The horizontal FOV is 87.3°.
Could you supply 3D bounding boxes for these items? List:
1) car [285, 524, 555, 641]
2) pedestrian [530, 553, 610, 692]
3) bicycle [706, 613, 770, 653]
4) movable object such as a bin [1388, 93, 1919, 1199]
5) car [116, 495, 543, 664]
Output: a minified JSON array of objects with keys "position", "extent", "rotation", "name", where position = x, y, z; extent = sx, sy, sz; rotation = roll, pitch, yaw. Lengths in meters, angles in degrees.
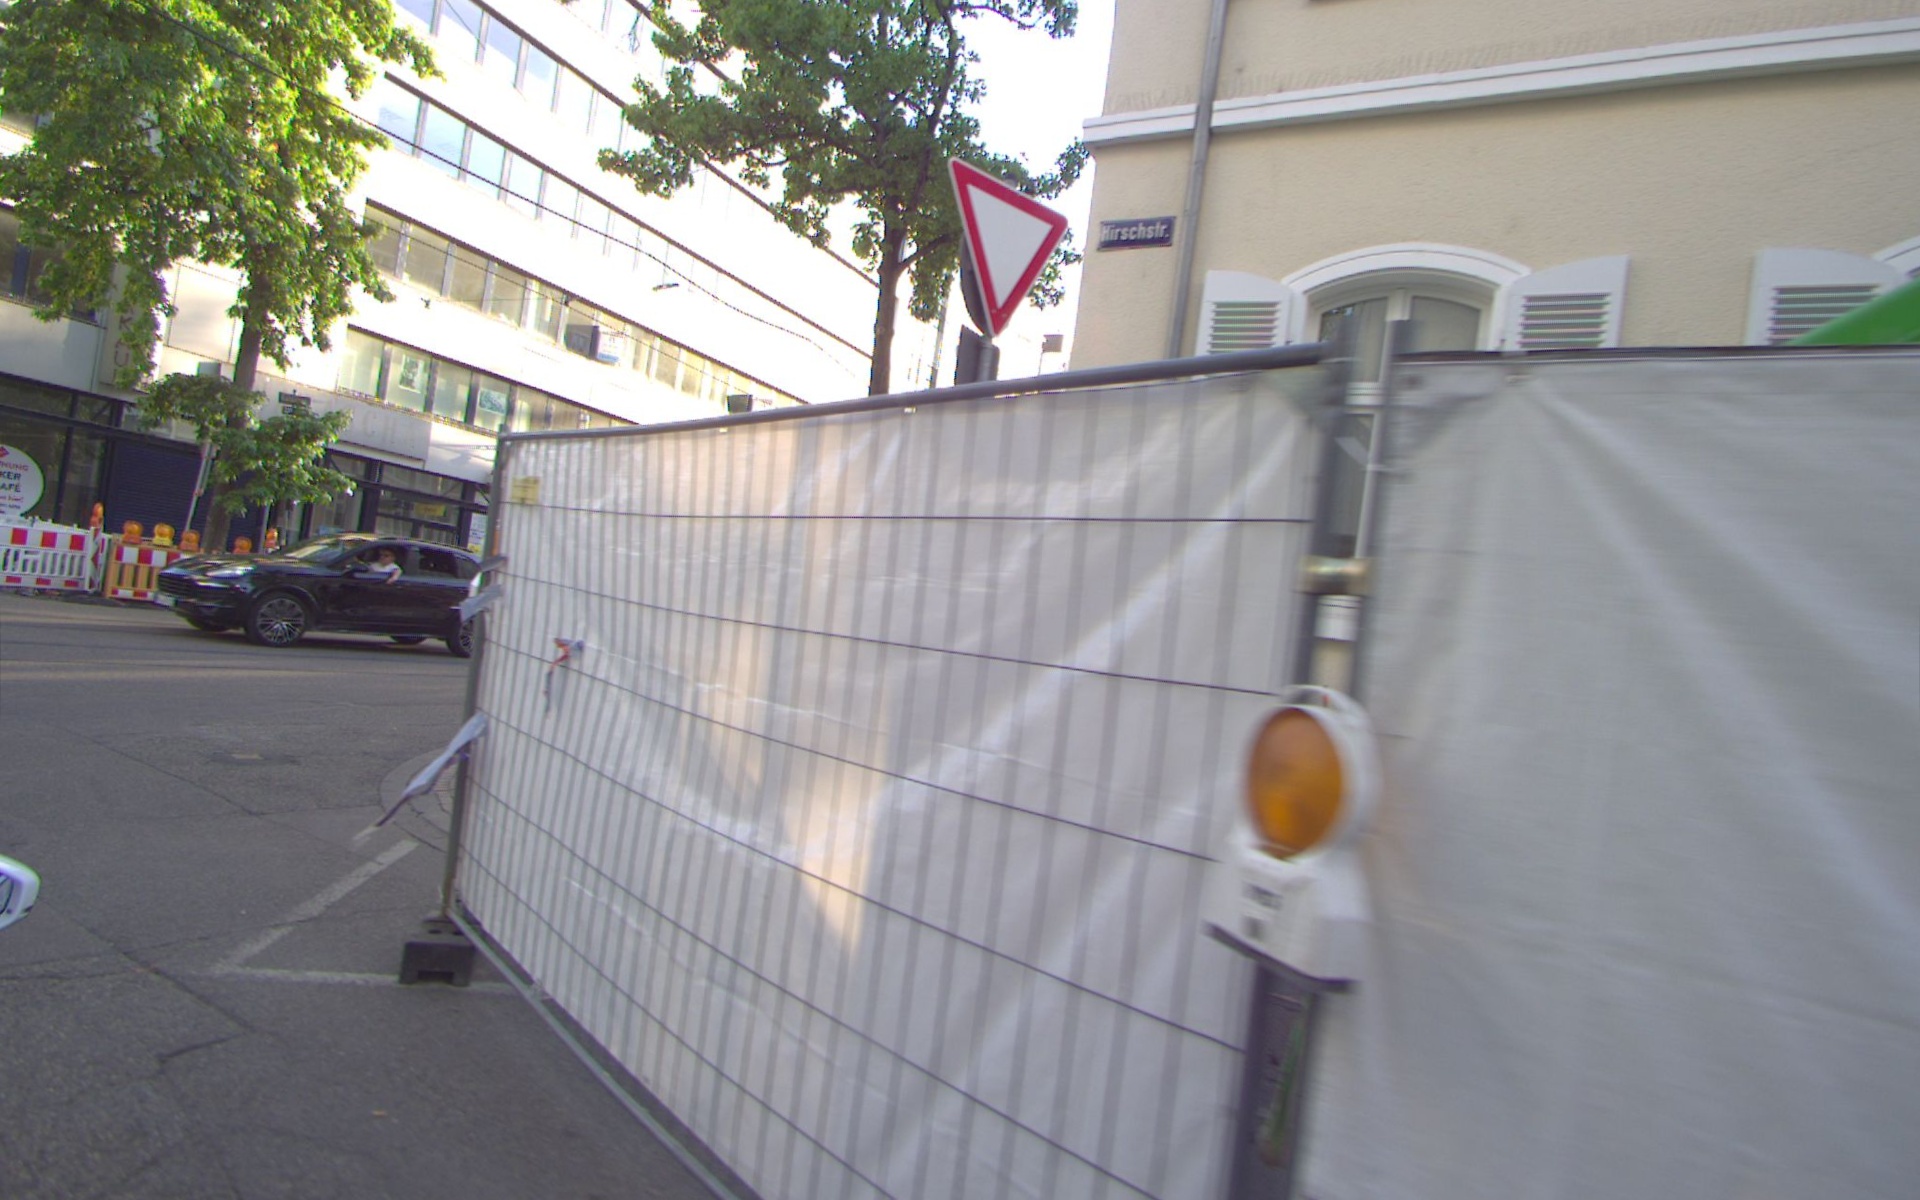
[{"position":[-12.025,-0.302,22.822],"extent":[1.987,1.795,4.945],"rotation":[10,-1,28],"name":"car"},{"position":[-5.477,0.292,14.091],"extent":[0.795,1.798,1.066],"rotation":[8,0,-24],"name":"pedestrian"},{"position":[-7.421,1.102,33.558],"extent":[1.991,0.964,0.669],"rotation":[11,1,27],"name":"bicycle"},{"position":[3.558,0.769,2.278],"extent":[4.373,2.873,2.611],"rotation":[8,0,29],"name":"movable object such as a bin"},{"position":[-9.063,-0.167,15.047],"extent":[1.987,1.745,4.945],"rotation":[7,-3,28],"name":"car"}]
